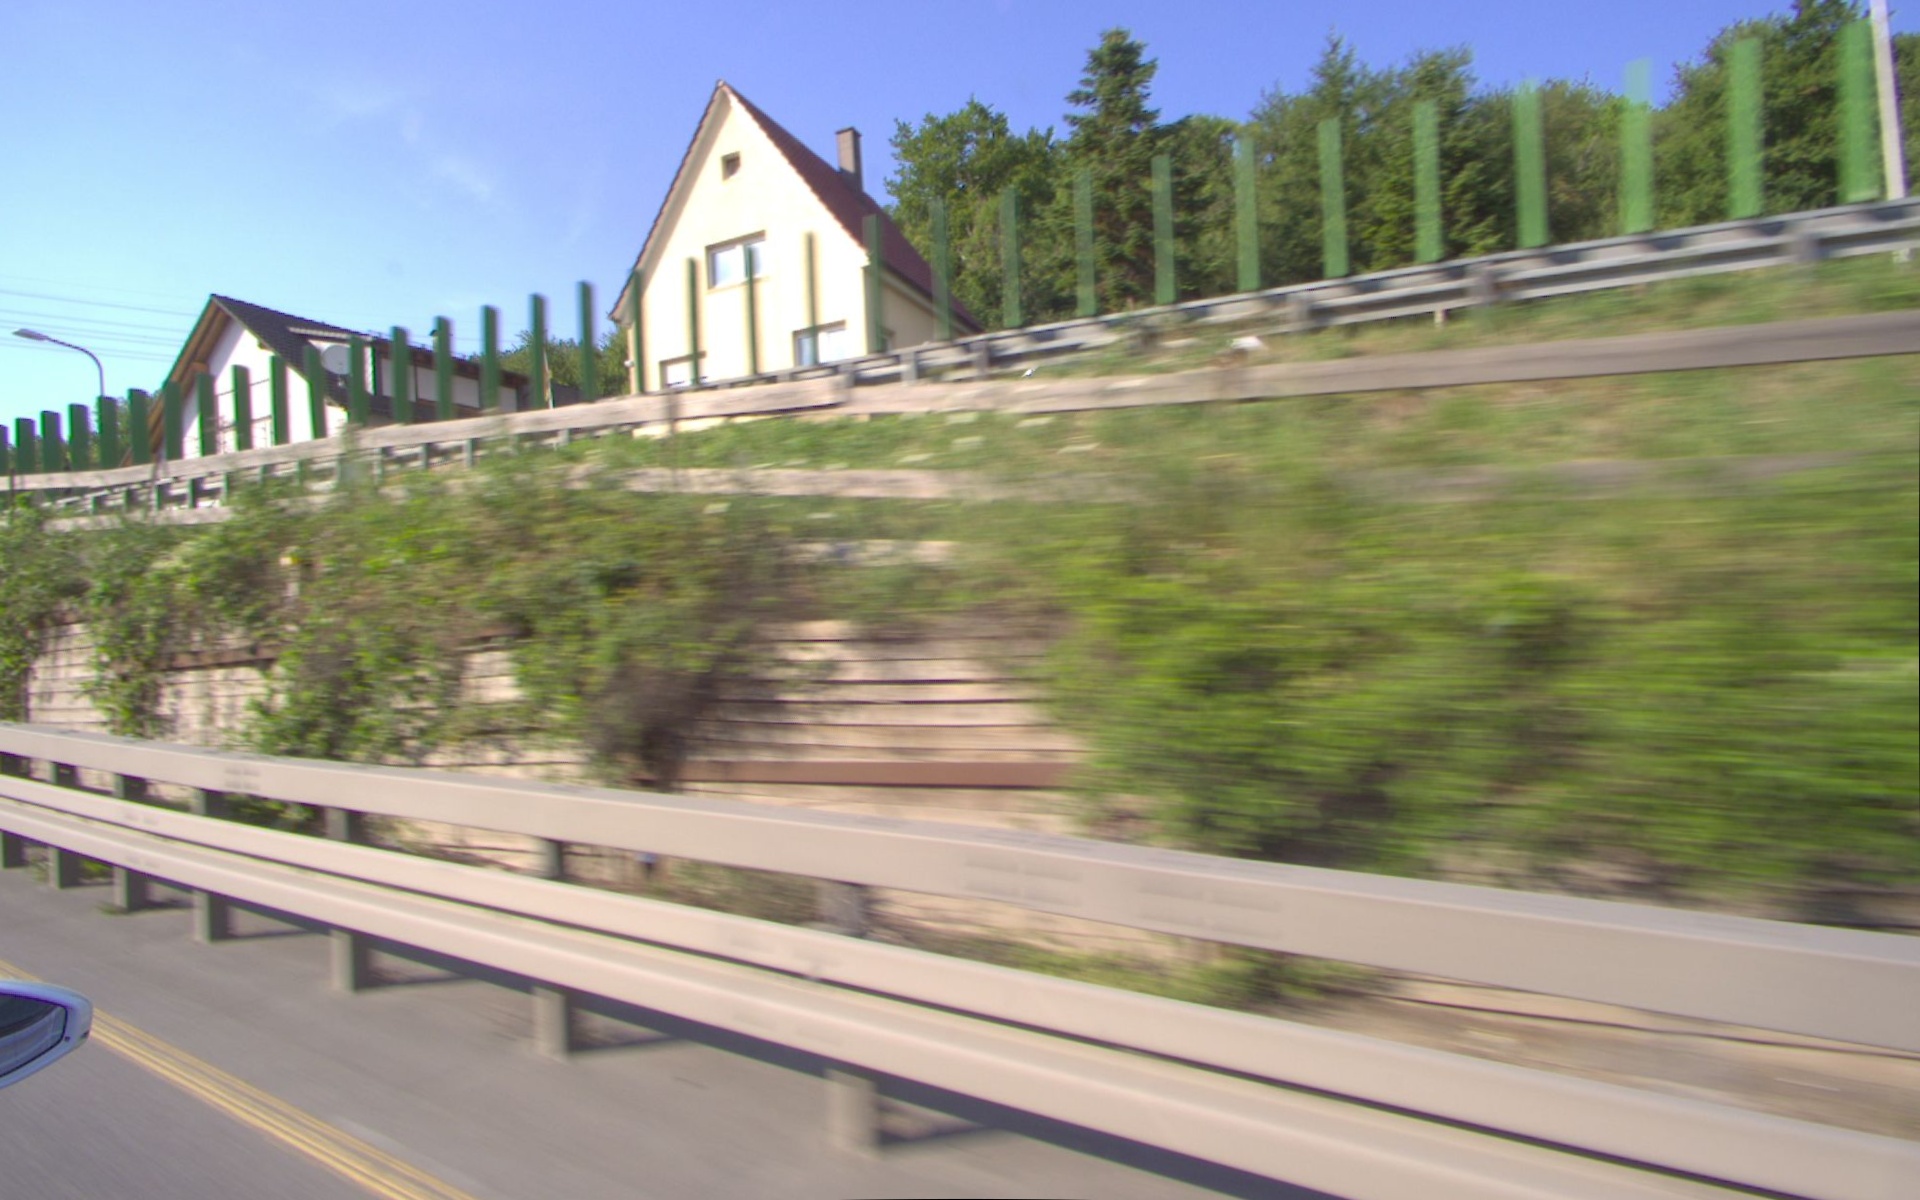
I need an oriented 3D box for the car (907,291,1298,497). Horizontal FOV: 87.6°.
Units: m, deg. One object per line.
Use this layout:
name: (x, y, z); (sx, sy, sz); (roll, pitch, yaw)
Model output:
car: (1.787, -2.432, 12.611); (4.570, 1.679, 1.699); (-3, -1, 21)
